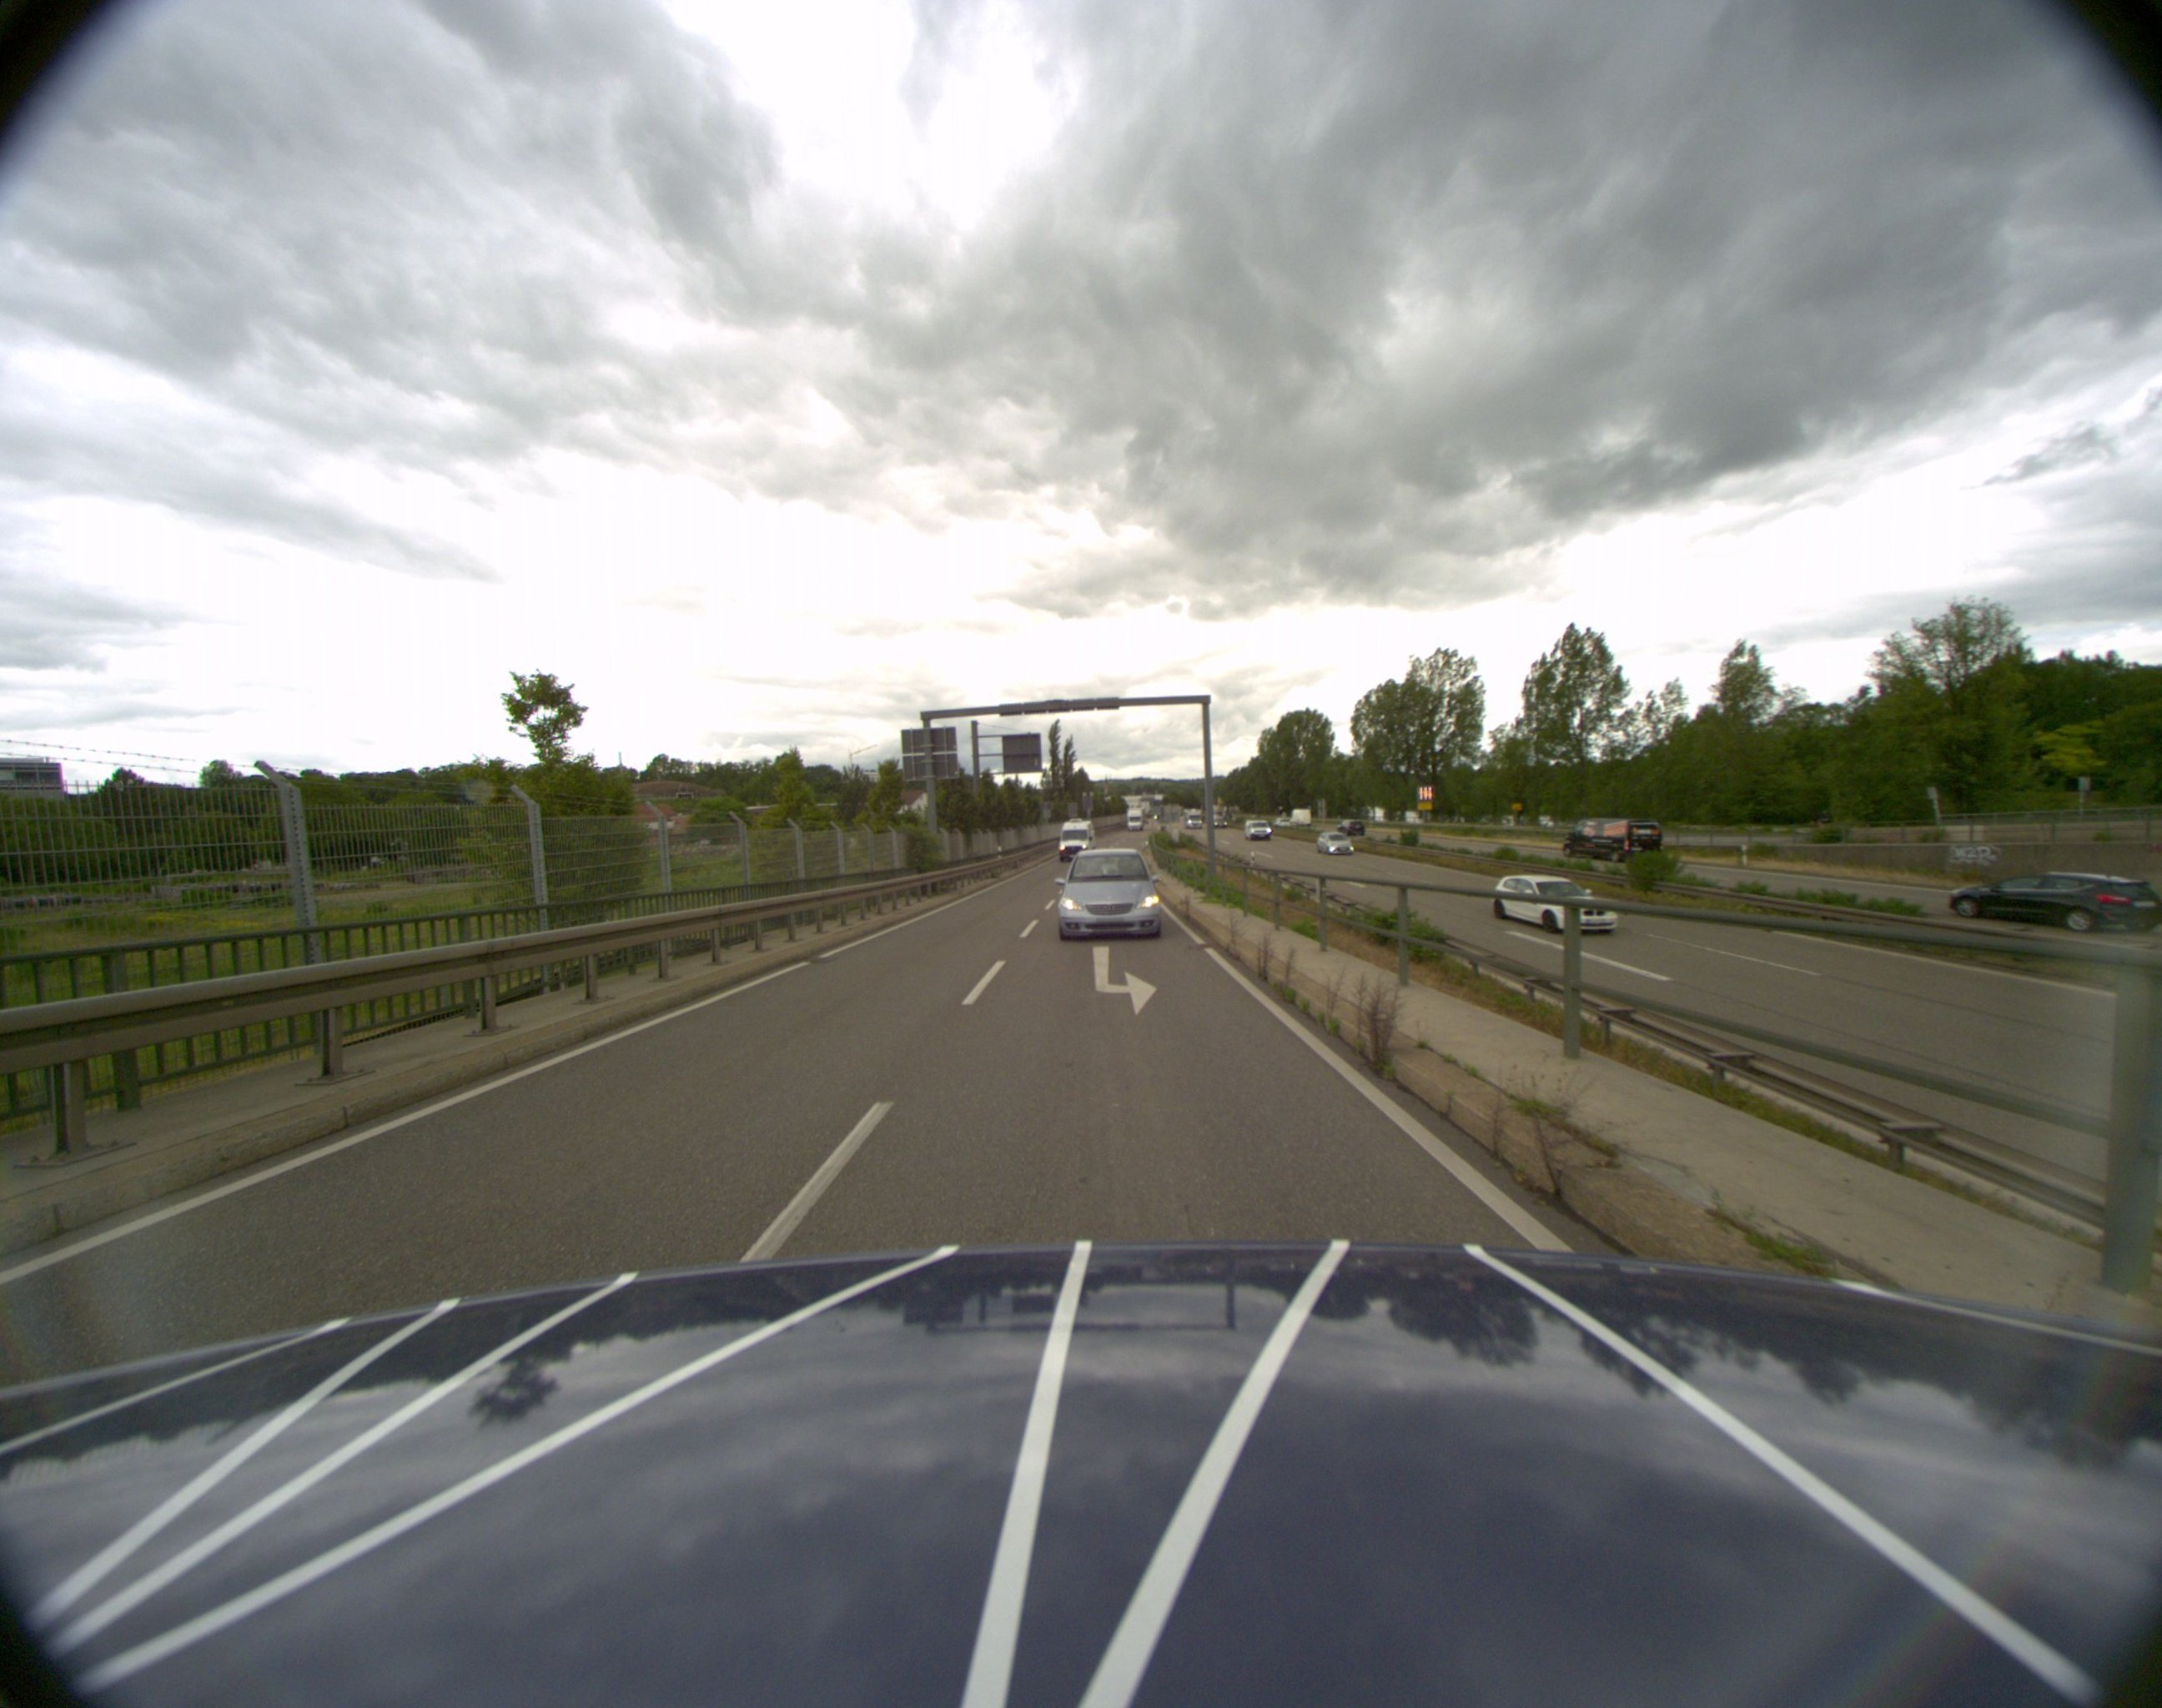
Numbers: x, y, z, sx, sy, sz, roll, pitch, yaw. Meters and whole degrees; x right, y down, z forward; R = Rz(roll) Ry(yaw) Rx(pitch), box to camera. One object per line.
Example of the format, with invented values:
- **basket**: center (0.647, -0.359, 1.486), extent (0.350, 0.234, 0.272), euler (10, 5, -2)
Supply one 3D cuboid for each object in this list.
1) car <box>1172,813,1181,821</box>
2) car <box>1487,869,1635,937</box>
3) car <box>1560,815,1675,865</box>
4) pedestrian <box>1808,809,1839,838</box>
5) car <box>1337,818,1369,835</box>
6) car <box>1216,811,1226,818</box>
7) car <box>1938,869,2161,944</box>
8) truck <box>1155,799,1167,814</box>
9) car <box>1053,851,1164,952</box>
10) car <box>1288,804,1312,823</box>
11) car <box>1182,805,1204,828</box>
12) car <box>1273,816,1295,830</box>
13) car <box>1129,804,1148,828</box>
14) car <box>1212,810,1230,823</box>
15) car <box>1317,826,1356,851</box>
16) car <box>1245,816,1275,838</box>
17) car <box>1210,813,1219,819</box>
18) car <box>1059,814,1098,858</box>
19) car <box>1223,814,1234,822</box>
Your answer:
- **car**: center (23.939, -9.180, 191.097), extent (1.844, 1.789, 4.280), euler (-2, 1, 4)
- **car**: center (13.987, 1.360, 22.459), extent (1.747, 1.444, 4.163), euler (-2, 4, 0)
- **car**: center (30.813, -0.899, 43.982), extent (2.250, 2.533, 6.110), euler (-2, 4, 0)
- **pedestrian**: center (46.576, -1.922, 47.663), extent (0.832, 1.696, 1.077), euler (-3, 4, 1)
- **car**: center (28.529, -2.898, 79.796), extent (1.903, 1.641, 4.330), euler (-1, 4, 1)
- **car**: center (36.082, -10.134, 195.869), extent (1.903, 1.641, 3.930), euler (-2, 3, 1)
- **car**: center (26.654, 1.355, 20.916), extent (1.668, 1.493, 3.855), euler (-1, 4, 1)
- **truck**: center (23.335, -13.783, 221.758), extent (2.758, 4.229, 6.693), euler (-1, 4, 0)
- **car**: center (0.469, 0.778, 14.541), extent (1.781, 1.578, 3.999), euler (-2, 1, 0)
- **car**: center (33.425, -6.187, 116.008), extent (2.215, 2.765, 5.357), euler (-1, 4, 1)
- **car**: center (17.123, -5.862, 116.962), extent (2.367, 3.223, 7.654), euler (-2, 4, 1)
- **car**: center (26.037, -4.030, 97.336), extent (1.761, 1.641, 3.929), euler (-2, 4, 0)
- **car**: center (8.540, -5.735, 112.765), extent (2.665, 3.312, 7.088), euler (-2, 3, 4)
- **car**: center (21.026, -5.681, 114.352), extent (1.845, 1.704, 4.276), euler (-2, 4, 1)
- **car**: center (18.070, -1.097, 53.855), extent (1.560, 1.544, 3.680), euler (-2, 4, 0)
- **car**: center (17.639, -2.701, 75.060), extent (1.954, 1.925, 4.893), euler (-2, 4, 3)
- **car**: center (37.236, -10.714, 211.923), extent (1.903, 1.641, 3.930), euler (-2, 3, 1)
- **car**: center (-0.095, -1.210, 52.604), extent (2.115, 2.767, 6.780), euler (-2, 1, 4)
- **car**: center (34.925, -8.580, 180.118), extent (1.903, 1.641, 3.930), euler (-2, 3, 1)
